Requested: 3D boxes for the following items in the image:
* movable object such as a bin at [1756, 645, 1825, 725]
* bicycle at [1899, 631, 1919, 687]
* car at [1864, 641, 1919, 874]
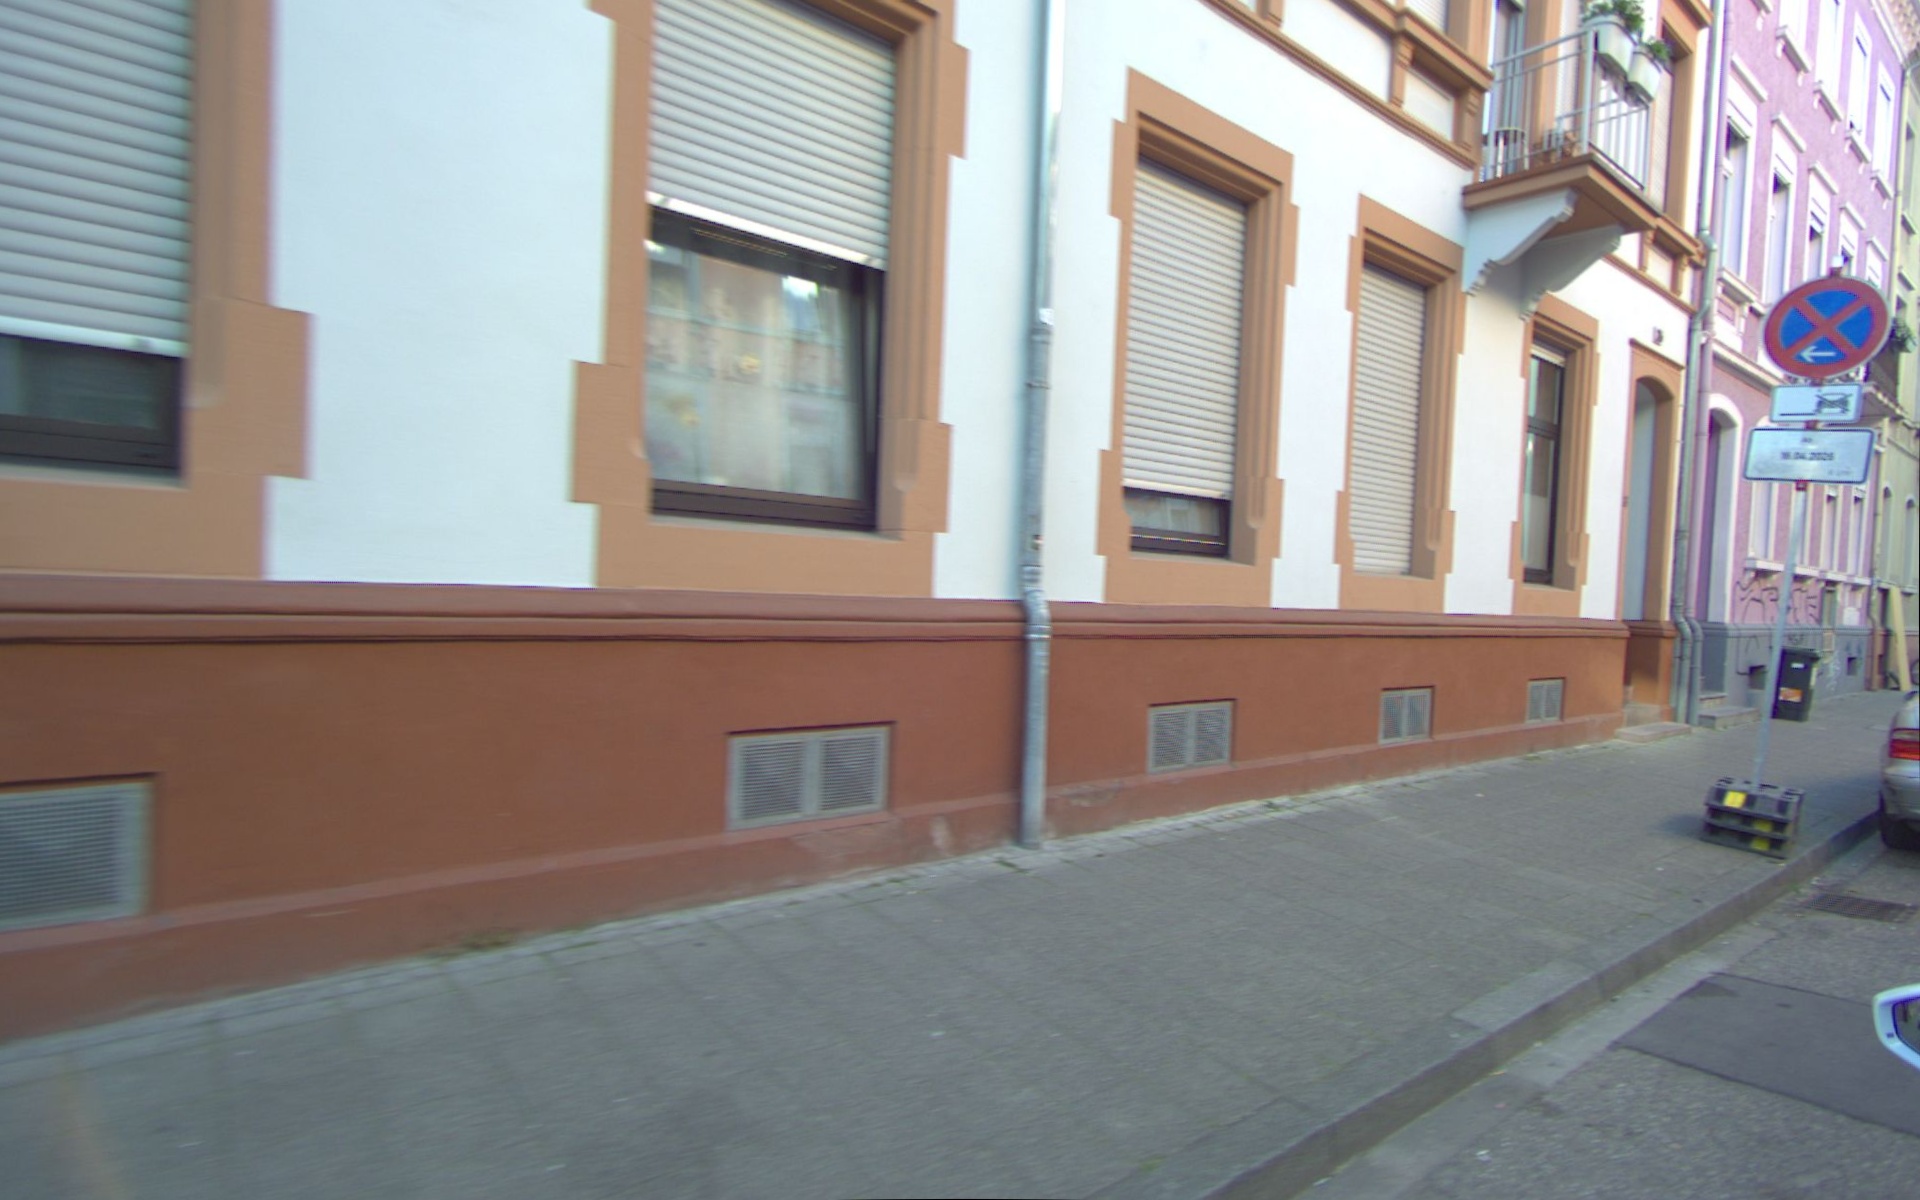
[{"bbox_3d":[10.637,1.074,12.874,0.483,0.957,0.539,2,2,-38],"label":"movable object such as a bin"},{"bbox_3d":[20.265,1.234,20.998,2.061,1.103,0.588,2,2,-39],"label":"bicycle"},{"bbox_3d":[7.919,1.022,7.052,4.468,1.401,1.697,2,-1,-39],"label":"car"}]
